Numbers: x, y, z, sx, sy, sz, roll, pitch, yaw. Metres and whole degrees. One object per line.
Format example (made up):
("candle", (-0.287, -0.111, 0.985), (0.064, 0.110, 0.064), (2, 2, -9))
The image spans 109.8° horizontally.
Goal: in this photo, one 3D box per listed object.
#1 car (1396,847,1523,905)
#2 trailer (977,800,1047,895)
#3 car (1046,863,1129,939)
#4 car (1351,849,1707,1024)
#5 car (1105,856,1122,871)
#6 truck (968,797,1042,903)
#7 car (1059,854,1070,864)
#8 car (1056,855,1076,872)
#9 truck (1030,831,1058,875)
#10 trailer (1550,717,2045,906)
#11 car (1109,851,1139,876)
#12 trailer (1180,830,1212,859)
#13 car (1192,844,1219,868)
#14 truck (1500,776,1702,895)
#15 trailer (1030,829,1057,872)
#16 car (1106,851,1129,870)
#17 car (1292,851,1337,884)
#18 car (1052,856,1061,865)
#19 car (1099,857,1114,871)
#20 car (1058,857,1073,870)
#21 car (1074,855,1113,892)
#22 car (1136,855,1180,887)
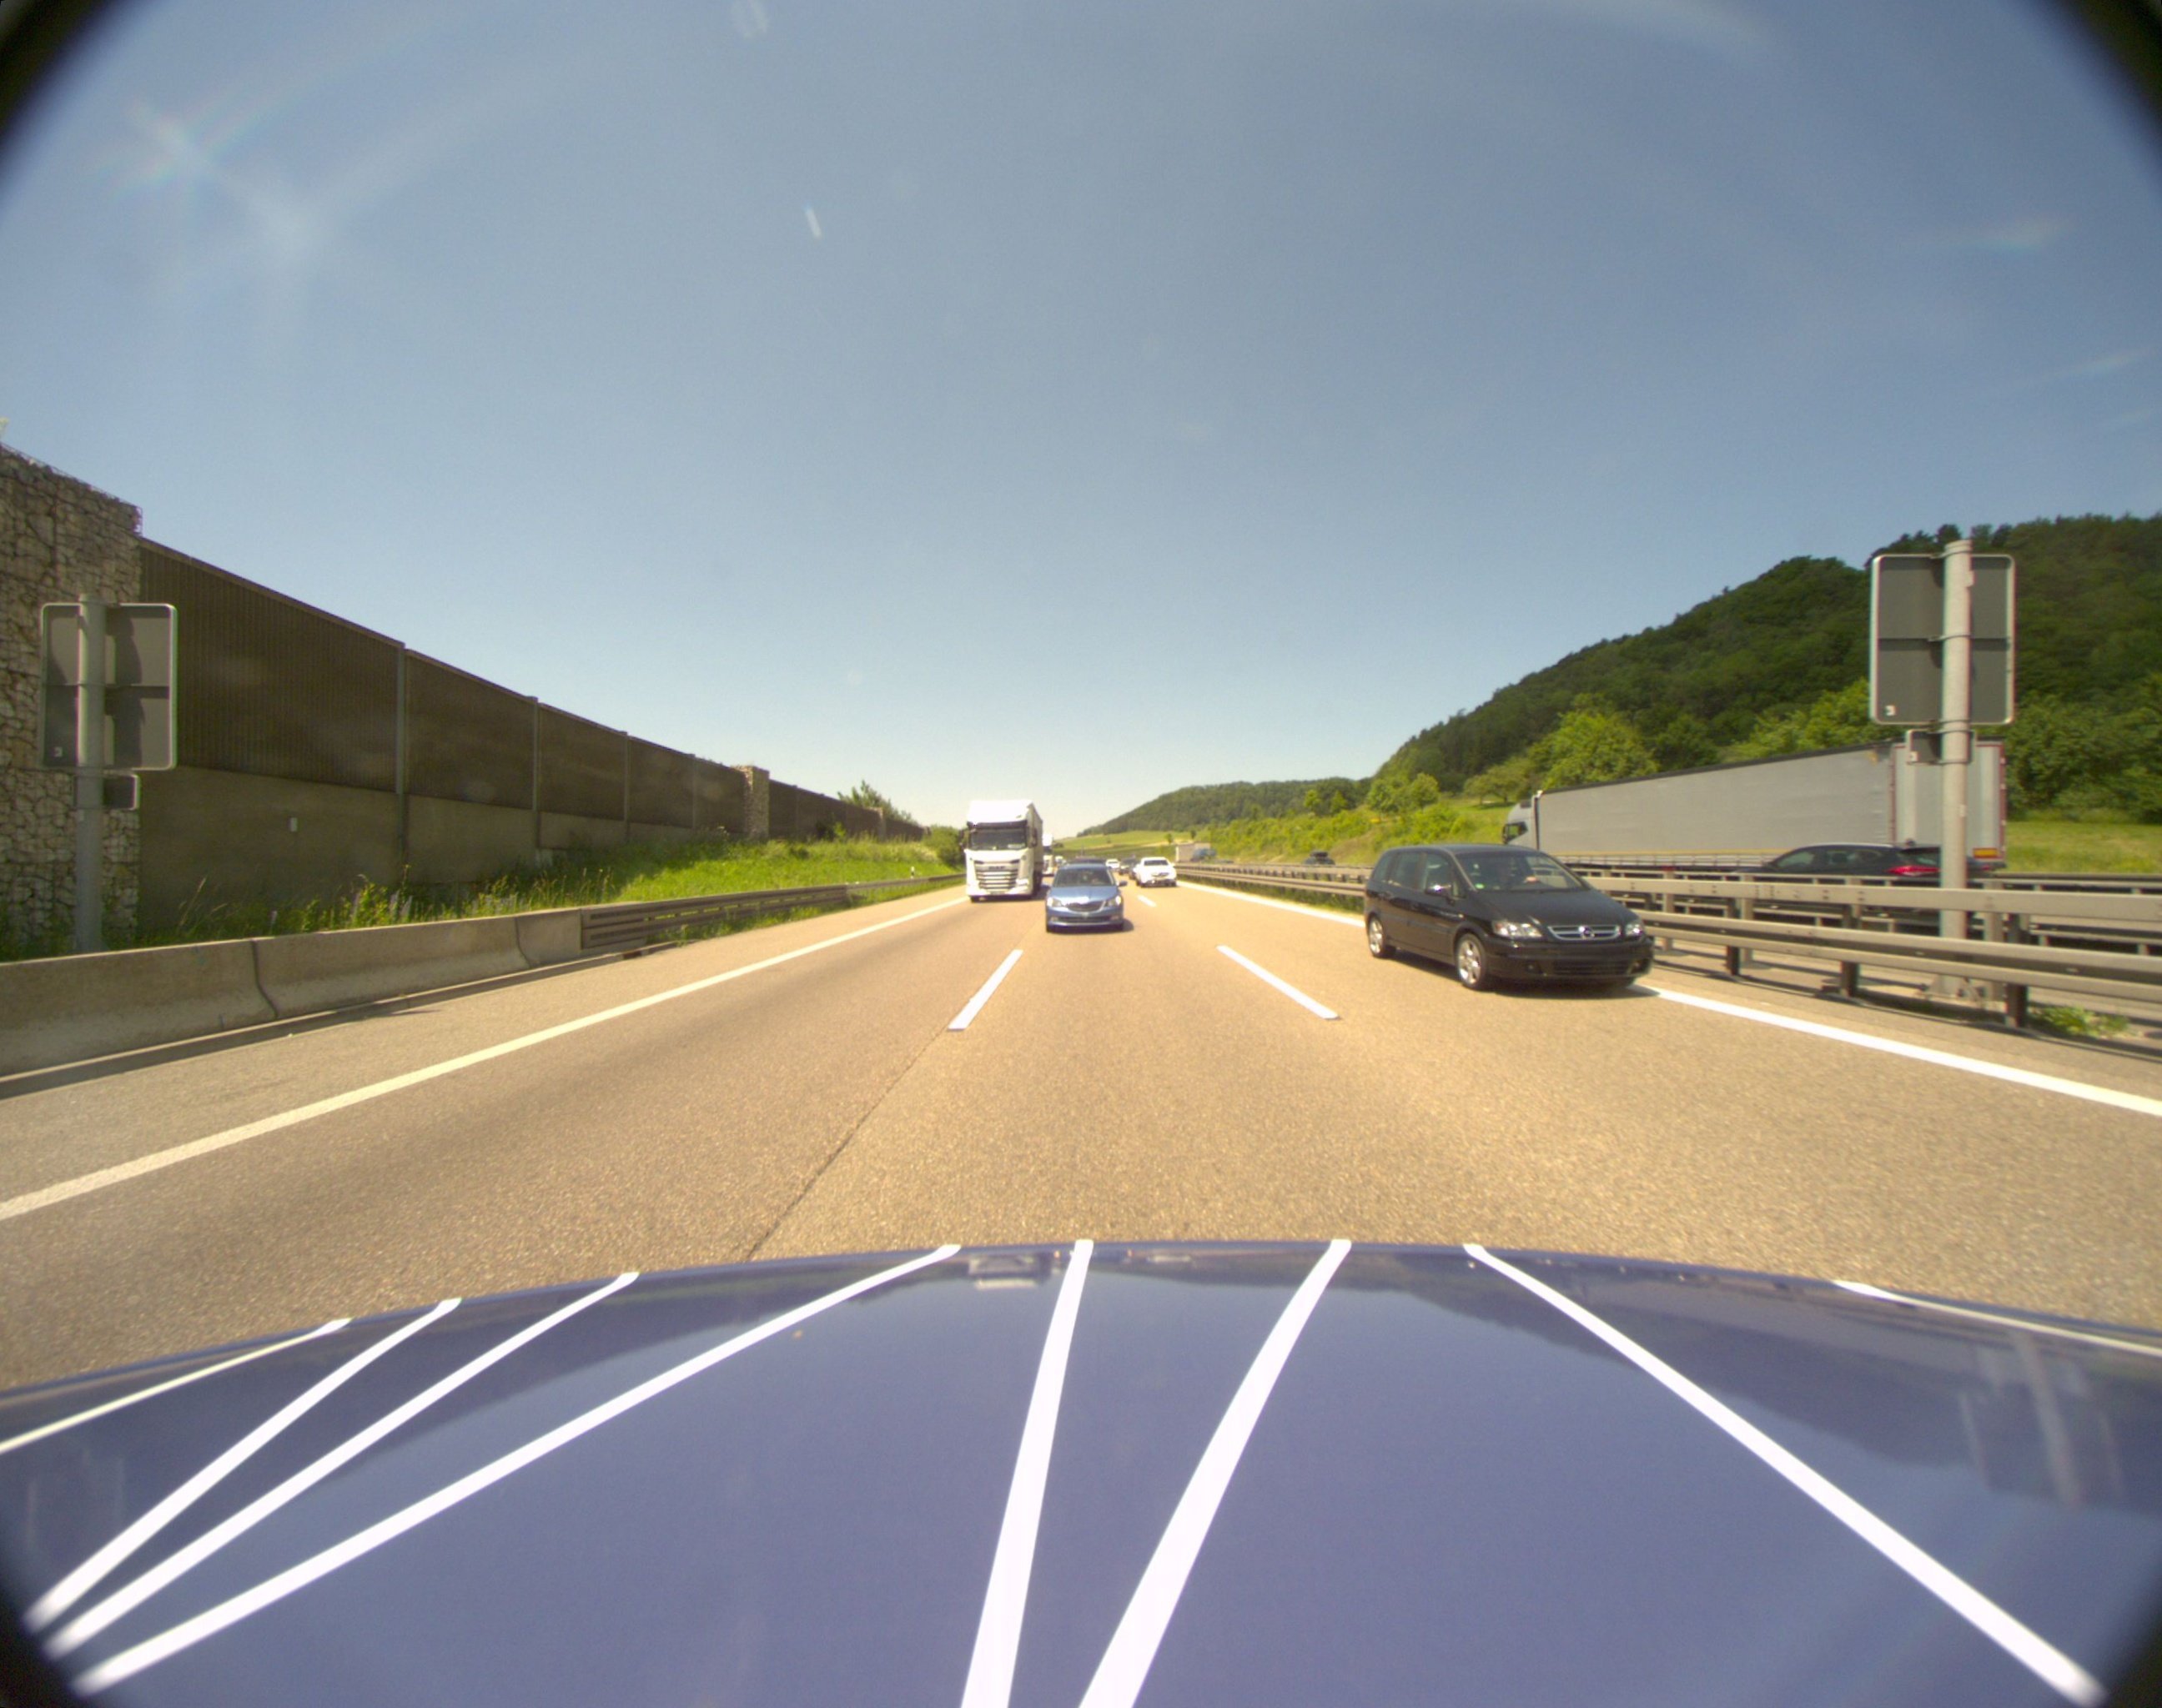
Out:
("car", (12.398, 0.669, 25.286), (1.998, 1.683, 4.509), (-2, 0, 1))
("trailer", (-3.172, -0.261, 38.574), (2.484, 3.954, 13.653), (-1, 0, -1))
("car", (0.050, 0.984, 17.777), (1.660, 1.481, 4.652), (-1, 0, -2))
("car", (5.034, 0.785, 9.416), (1.805, 1.625, 4.446), (-1, 0, 0))
("car", (3.863, 1.096, 90.975), (1.998, 1.702, 4.000), (-2, 1, 1))
("truck", (-3.044, -0.153, 31.843), (2.484, 3.954, 6.380), (-1, 0, -1))
("car", (-3.094, 0.924, 140.862), (1.999, 1.702, 3.999), (-2, 1, -2))
("car", (-1.563, 0.978, 79.762), (1.999, 1.702, 3.999), (-2, 1, -2))
("truck", (-3.699, -0.119, 74.576), (2.532, 4.065, 6.077), (-2, 1, -4))
("trailer", (20.258, -1.011, 23.713), (3.255, 4.180, 12.999), (-2, 0, 1))
("car", (3.148, 0.696, 55.930), (1.998, 1.692, 4.000), (-2, 1, 1))
("trailer", (18.127, -1.465, 120.722), (2.862, 4.167, 13.613), (-2, 0, 0))
("car", (15.302, 0.208, 93.734), (2.161, 2.845, 6.398), (-2, 1, 0))
("truck", (20.287, -0.681, 30.312), (3.286, 4.124, 6.954), (-1, 1, 0))
("trailer", (-4.079, -0.398, 80.595), (2.545, 4.084, 13.622), (-2, 0, -4))
("car", (3.421, 0.608, 71.842), (1.998, 1.702, 4.000), (-2, 1, 1))
("car", (15.754, 0.880, 51.426), (1.890, 2.105, 4.284), (-1, 0, 3))
("car", (-5.859, 1.625, 178.982), (1.999, 2.002, 3.999), (-2, 1, -2))
("car", (3.462, 1.373, 102.849), (1.998, 1.702, 4.000), (-2, 1, 1))
("car", (-2.092, 1.285, 102.517), (1.999, 1.702, 3.999), (-2, 1, -2))
("car", (0.587, 0.887, 37.065), (1.737, 1.674, 4.197), (-1, 0, 0))
("car", (4.110, 0.869, 41.162), (1.998, 1.612, 4.000), (-1, 0, 1))
